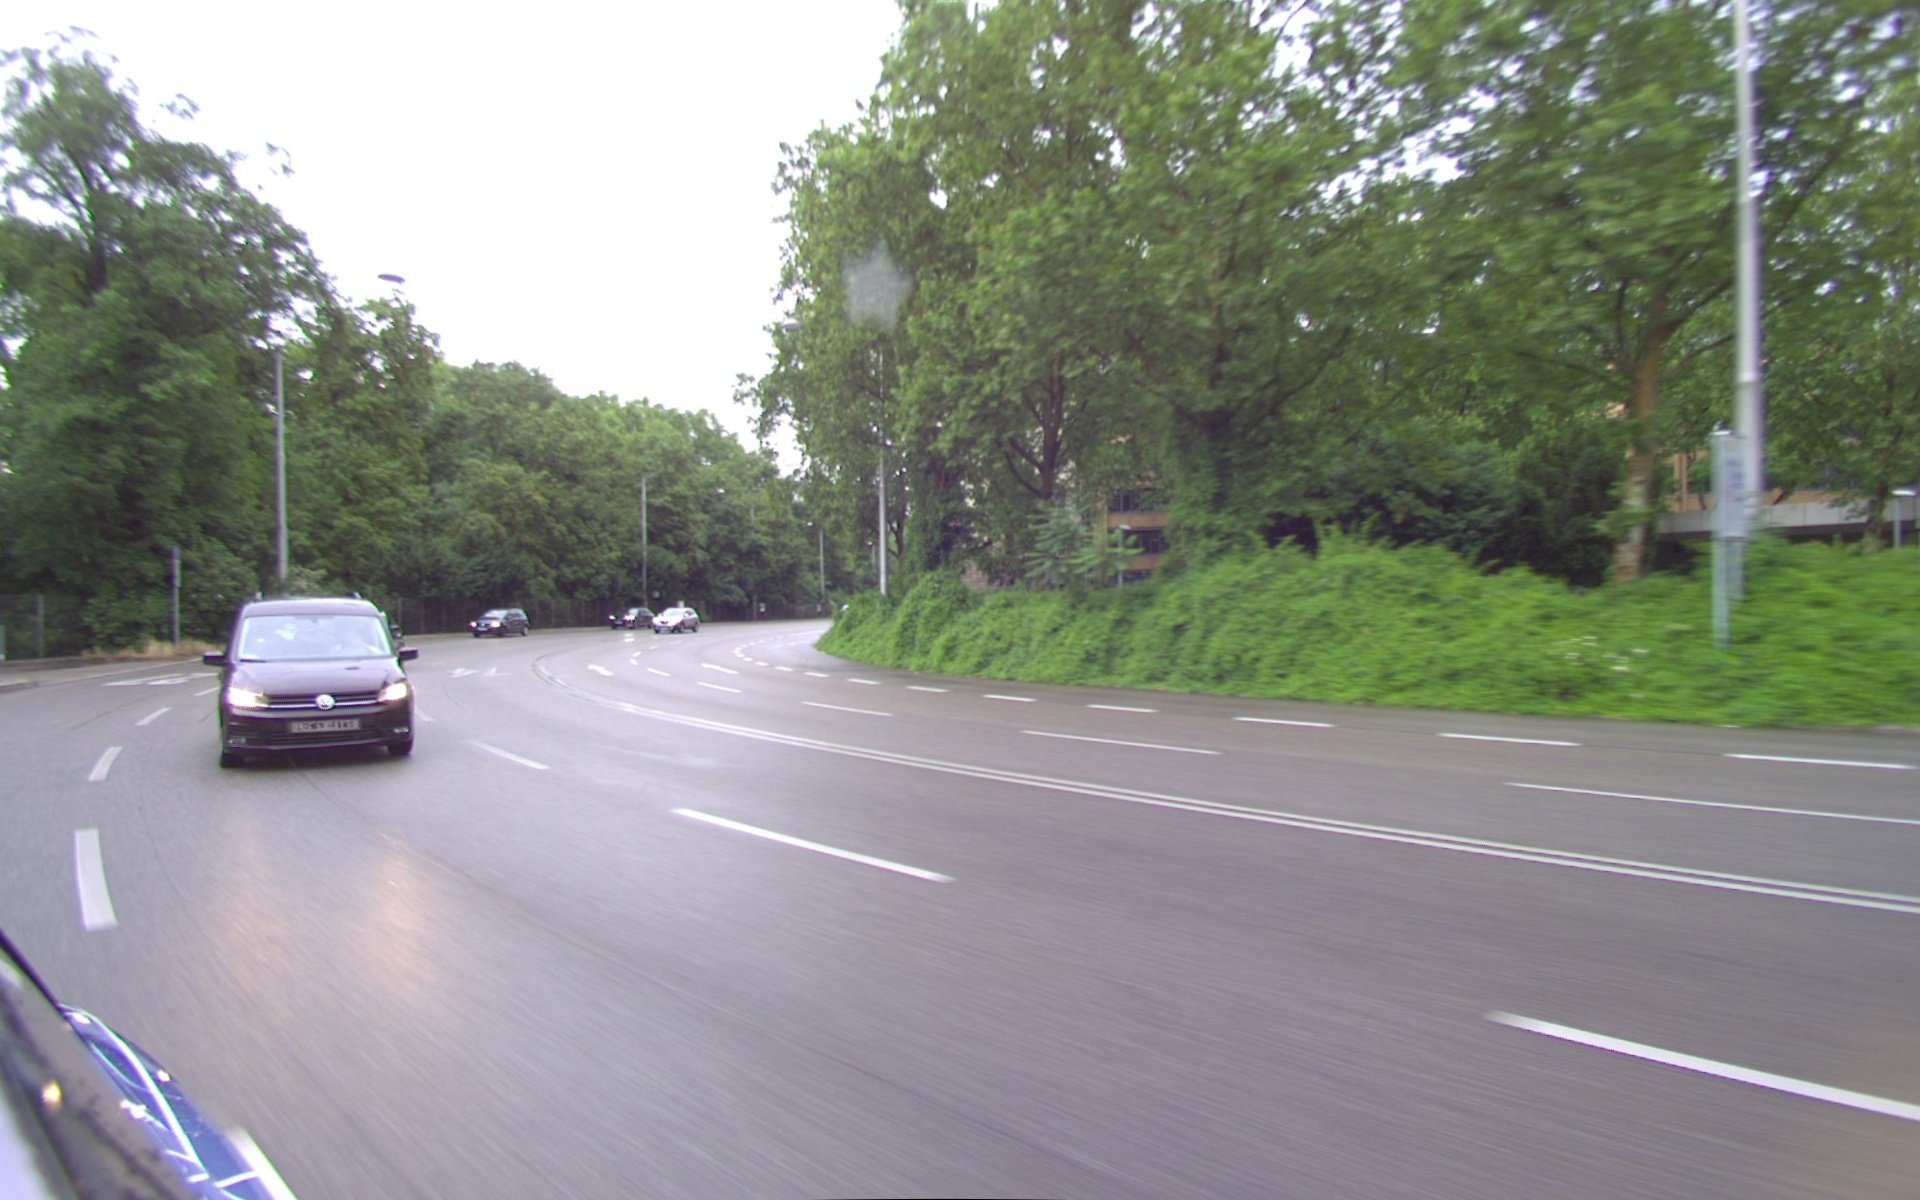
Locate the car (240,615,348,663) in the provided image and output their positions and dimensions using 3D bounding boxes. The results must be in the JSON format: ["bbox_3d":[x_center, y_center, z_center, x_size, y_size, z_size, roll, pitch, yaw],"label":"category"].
[{"bbox_3d":[-22.426,1.275,34.263,1.766,1.464,4.010,-1,0,-13],"label":"car"}]

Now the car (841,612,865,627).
[{"bbox_3d":[-12.015,2.168,113.864,1.904,1.532,3.891,-1,0,8],"label":"car"}]

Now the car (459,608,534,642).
[{"bbox_3d":[-24.964,1.331,54.695,1.975,1.758,3.993,-1,0,6],"label":"car"}]

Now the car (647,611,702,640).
[{"bbox_3d":[-18.416,1.594,65.494,1.975,1.758,4.648,-1,0,5],"label":"car"}]

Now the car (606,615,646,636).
[{"bbox_3d":[-23.662,1.795,71.839,1.564,1.343,3.100,-1,0,7],"label":"car"}]

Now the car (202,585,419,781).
[{"bbox_3d":[-7.474,0.809,11.588,1.767,1.813,4.135,1,-1,-35],"label":"car"}]
